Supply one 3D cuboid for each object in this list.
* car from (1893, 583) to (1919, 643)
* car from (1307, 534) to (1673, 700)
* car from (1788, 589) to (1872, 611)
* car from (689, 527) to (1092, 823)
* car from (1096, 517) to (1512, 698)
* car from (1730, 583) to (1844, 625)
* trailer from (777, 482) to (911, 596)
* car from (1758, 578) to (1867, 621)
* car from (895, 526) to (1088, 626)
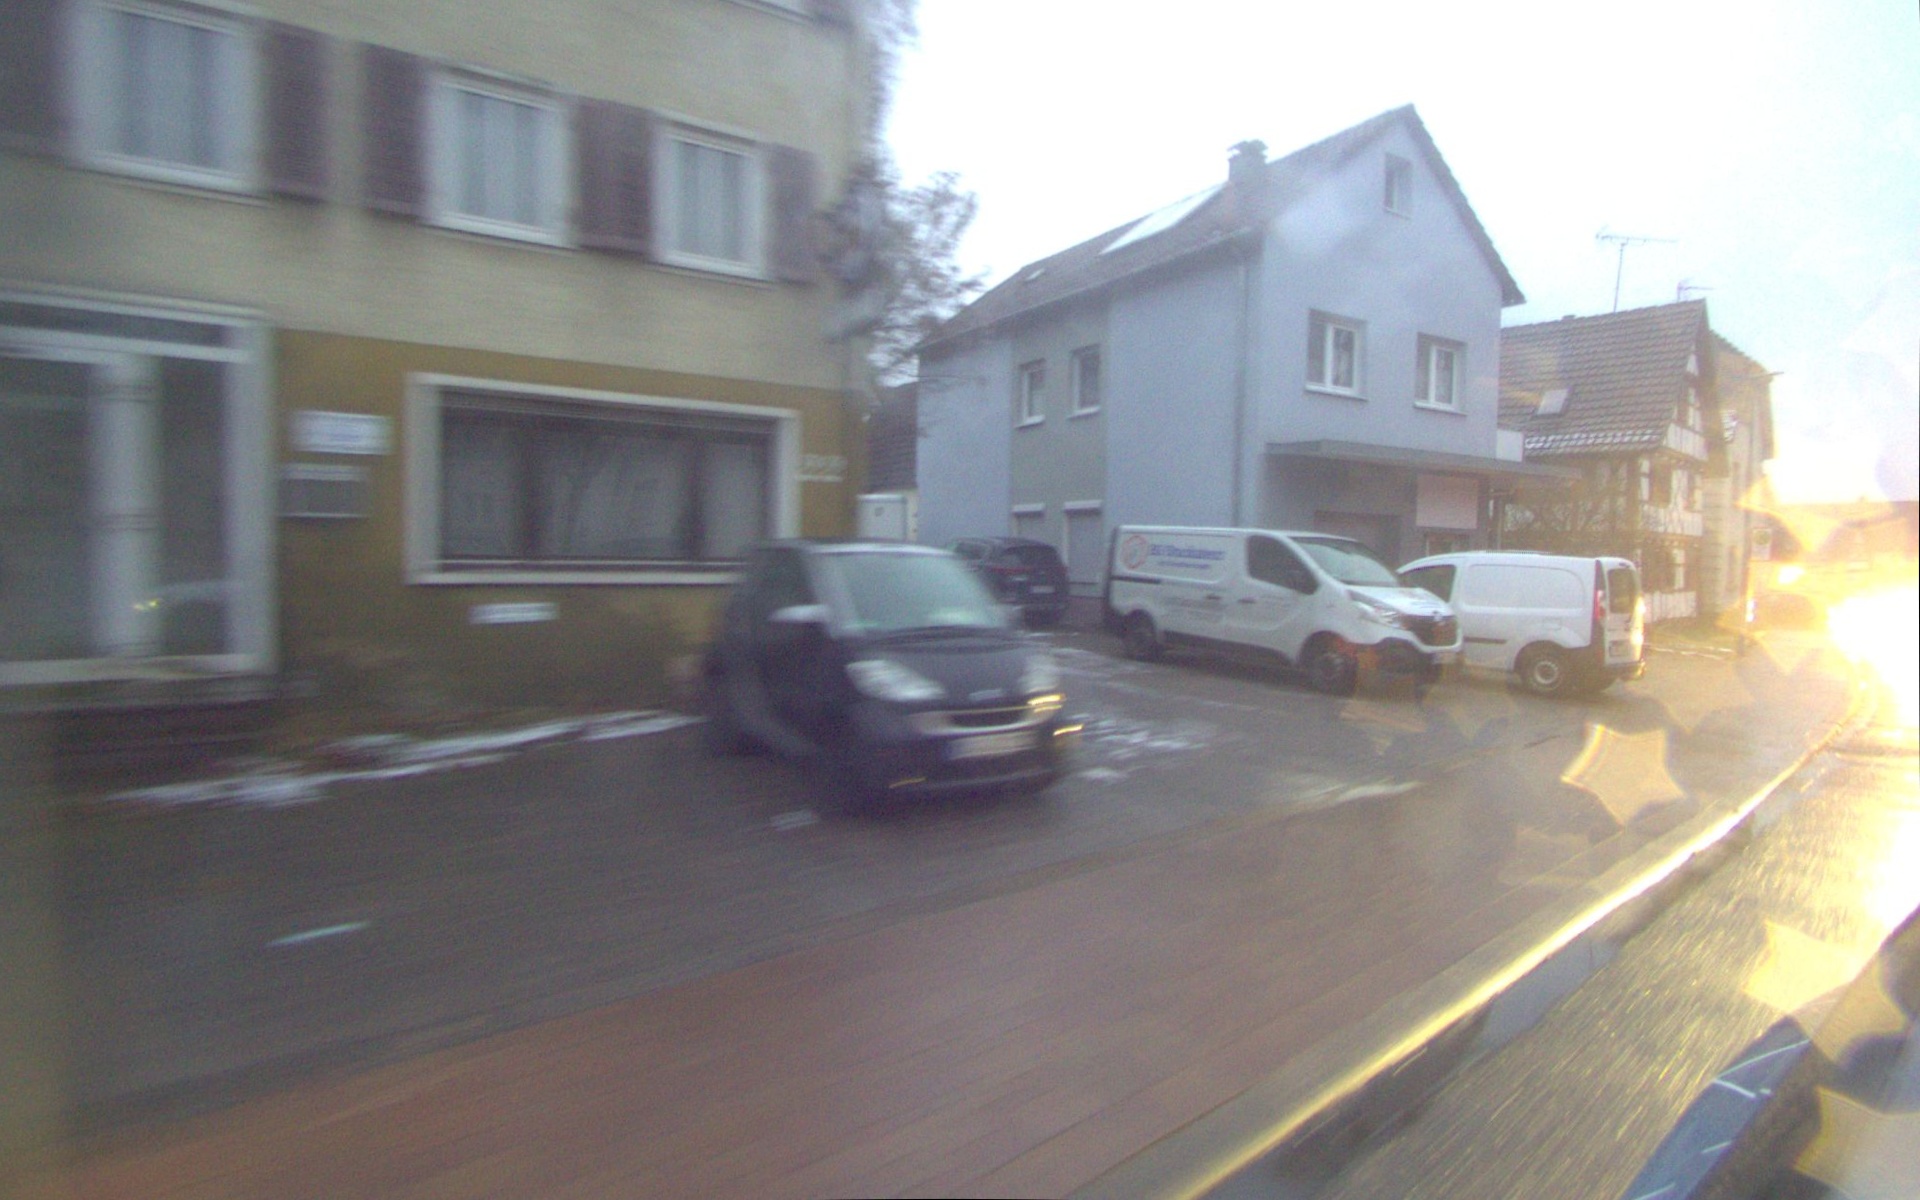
[{"bbox_3d":[27.973,0.361,28.779,1.916,1.638,3.812,1,1,40],"label":"car"},{"bbox_3d":[7.184,0.090,14.066,1.830,1.865,4.053,0,4,-39],"label":"car"},{"bbox_3d":[53.598,0.002,62.403,3.877,1.141,1.527,3,2,43],"label":"car"},{"bbox_3d":[-0.609,0.301,6.662,1.399,1.492,2.774,0,3,-35],"label":"car"},{"bbox_3d":[4.258,-0.072,13.457,1.900,1.911,5.000,1,4,-35],"label":"car"},{"bbox_3d":[37.193,0.139,45.626,3.835,1.647,1.590,4,3,38],"label":"car"},{"bbox_3d":[-2.988,-1.594,25.298,1.802,2.546,4.009,0,6,-30],"label":"trailer"},{"bbox_3d":[41.311,-0.040,49.161,3.870,1.900,1.844,3,2,37],"label":"car"},{"bbox_3d":[0.495,-0.542,19.843,1.843,1.641,4.007,0,5,-31],"label":"car"}]
